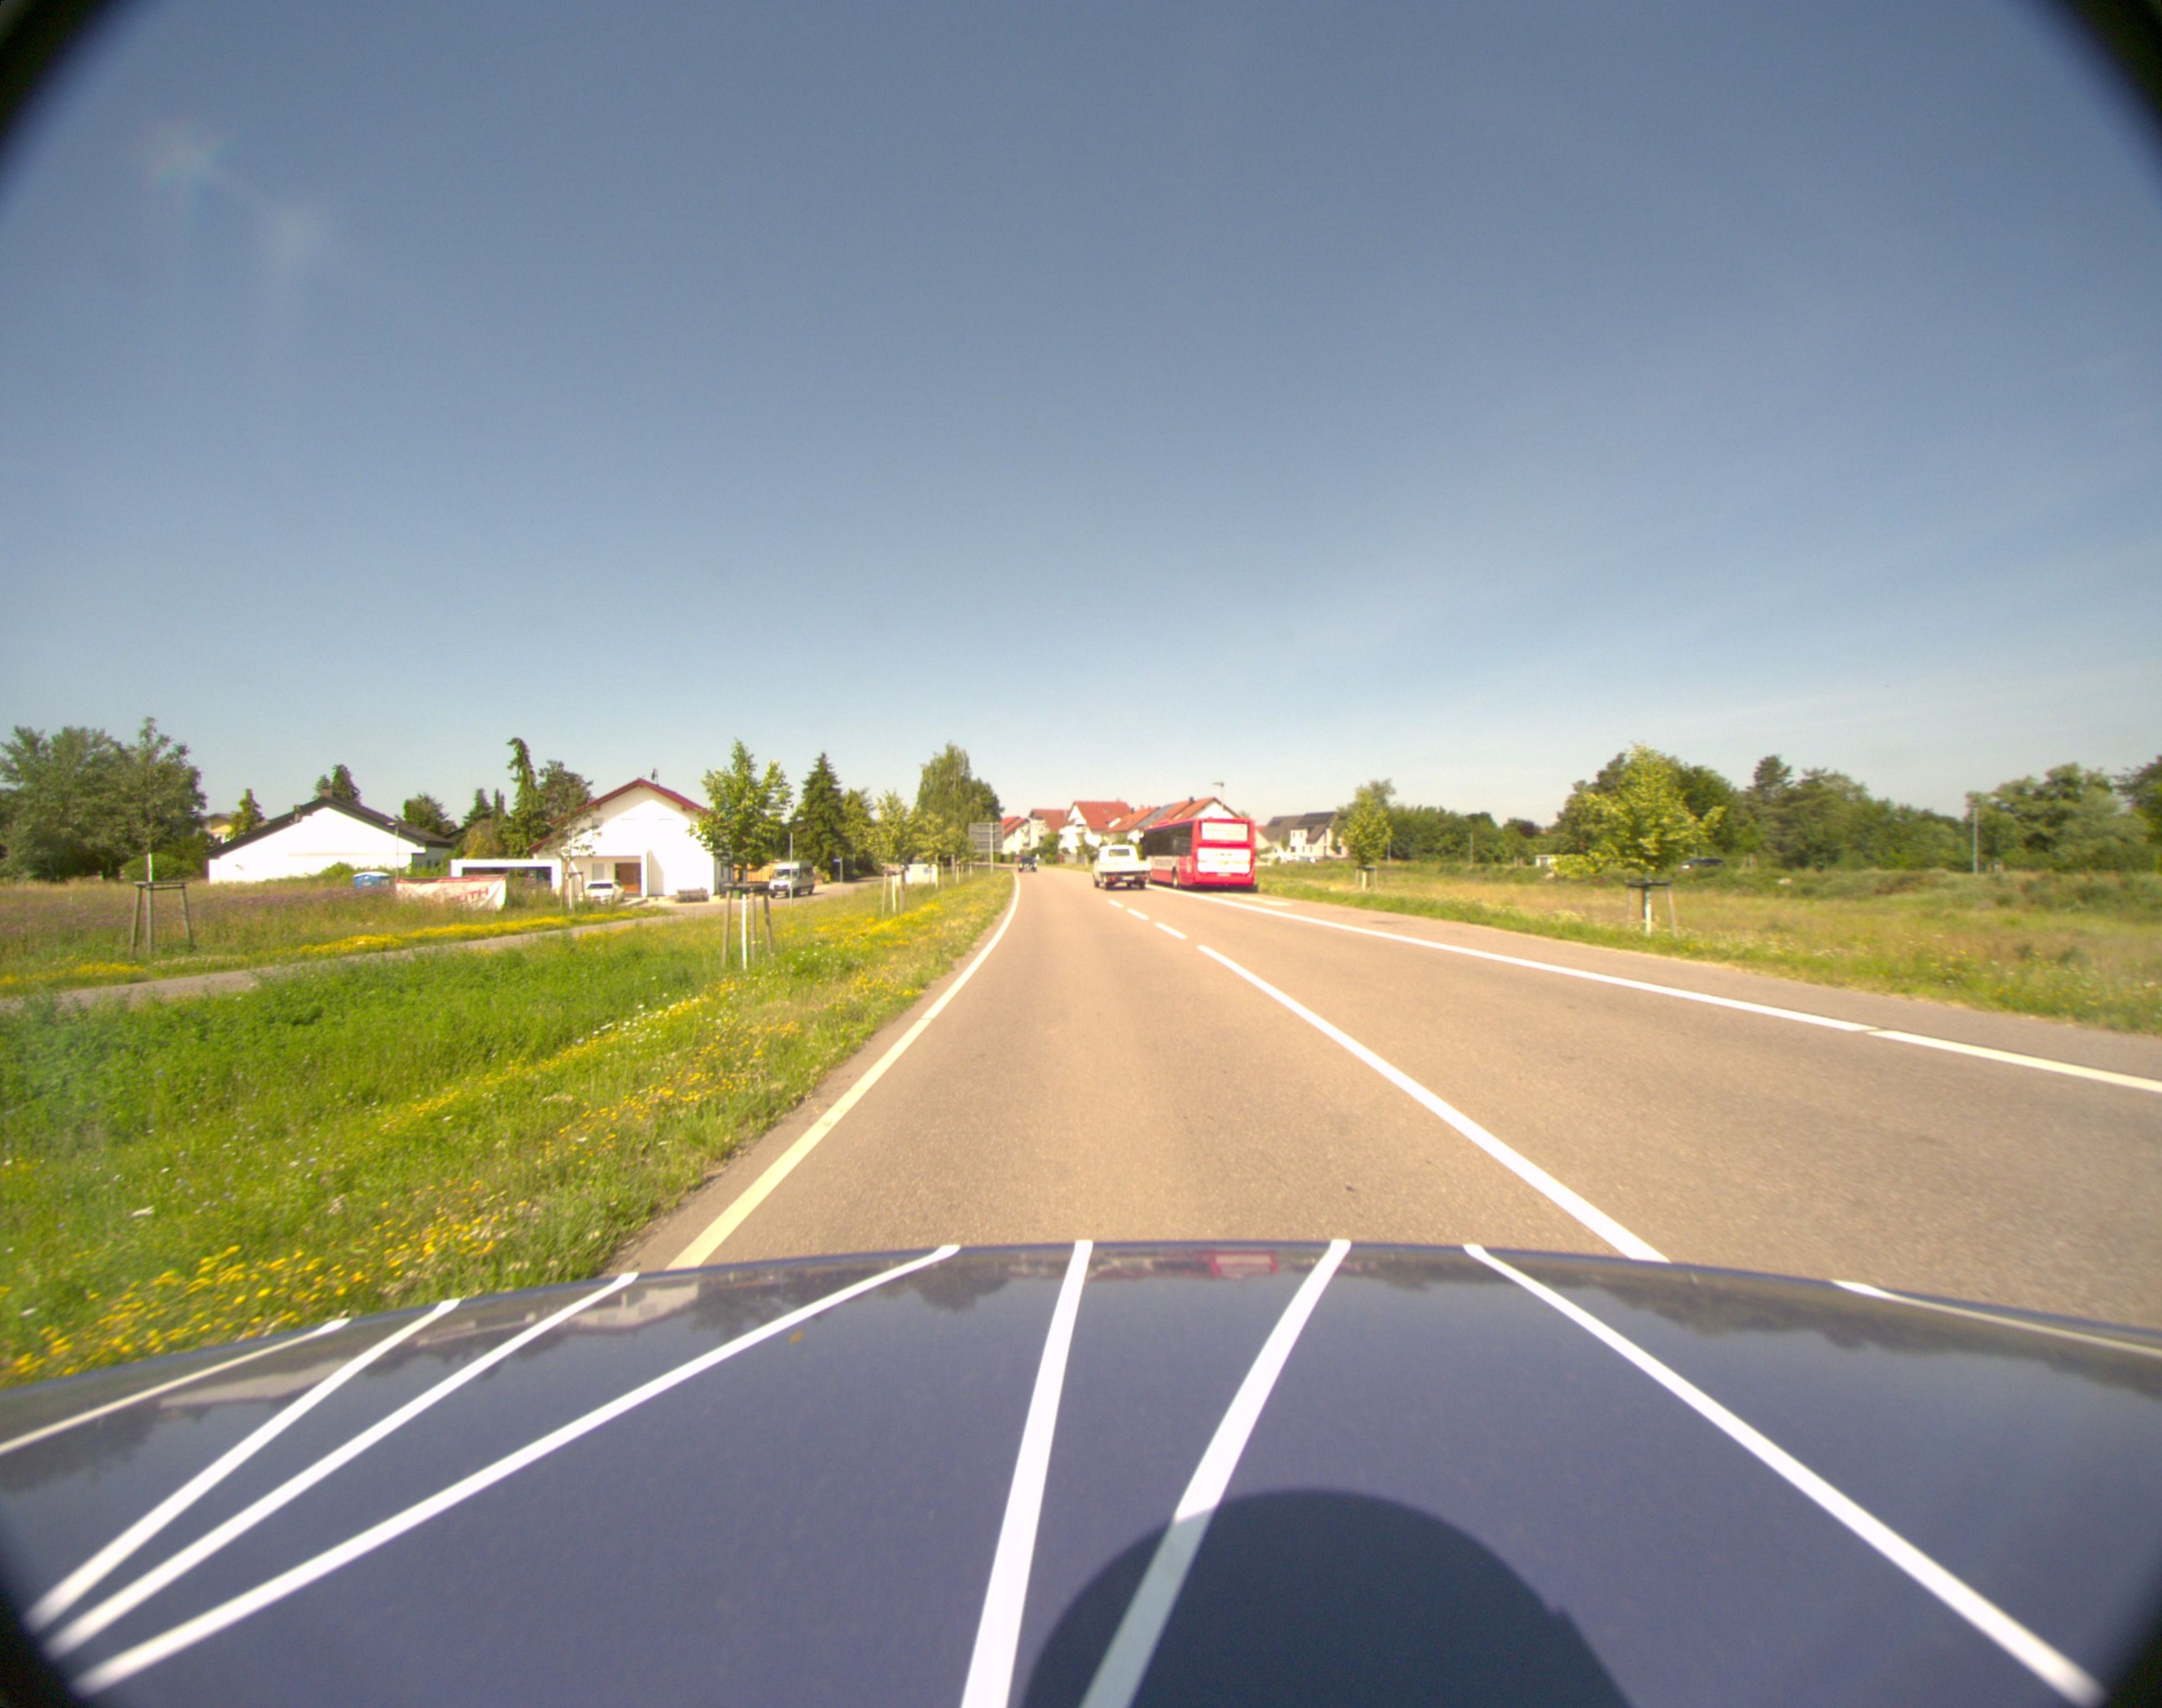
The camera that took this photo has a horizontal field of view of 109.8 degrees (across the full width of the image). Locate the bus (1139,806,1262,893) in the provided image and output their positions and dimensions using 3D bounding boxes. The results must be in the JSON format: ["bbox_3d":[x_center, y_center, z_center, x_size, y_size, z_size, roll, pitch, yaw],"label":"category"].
[{"bbox_3d":[5.099,-0.139,35.555,2.802,3.267,12.224,1,0,-5],"label":"bus"}]

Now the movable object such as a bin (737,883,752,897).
[{"bbox_3d":[-23.391,2.489,52.848,0.694,0.932,0.638,-1,0,0],"label":"movable object such as a bin"}]

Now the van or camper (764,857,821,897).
[{"bbox_3d":[-20.810,1.587,55.135,2.178,2.586,6.027,-2,1,-5],"label":"van or camper"}]

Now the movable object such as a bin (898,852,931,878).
[{"bbox_3d":[-17.345,1.110,79.458,2.323,2.449,6.941,-2,1,-5],"label":"movable object such as a bin"}]

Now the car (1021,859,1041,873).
[{"bbox_3d":[-5.482,1.288,82.954,1.934,1.552,3.997,0,0,-8],"label":"car"}]

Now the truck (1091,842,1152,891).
[{"bbox_3d":[1.747,0.526,34.701,1.957,1.973,5.641,-2,0,-5],"label":"truck"}]

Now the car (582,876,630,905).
[{"bbox_3d":[-29.877,2.271,47.950,1.565,1.549,4.480,-3,1,-19],"label":"car"}]

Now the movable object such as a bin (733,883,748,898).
[{"bbox_3d":[-23.384,2.498,52.156,0.694,0.932,0.638,-1,0,0],"label":"movable object such as a bin"}]

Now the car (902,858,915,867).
[{"bbox_3d":[-30.596,1.449,134.840,1.864,1.437,4.165,-3,1,-8],"label":"car"}]
